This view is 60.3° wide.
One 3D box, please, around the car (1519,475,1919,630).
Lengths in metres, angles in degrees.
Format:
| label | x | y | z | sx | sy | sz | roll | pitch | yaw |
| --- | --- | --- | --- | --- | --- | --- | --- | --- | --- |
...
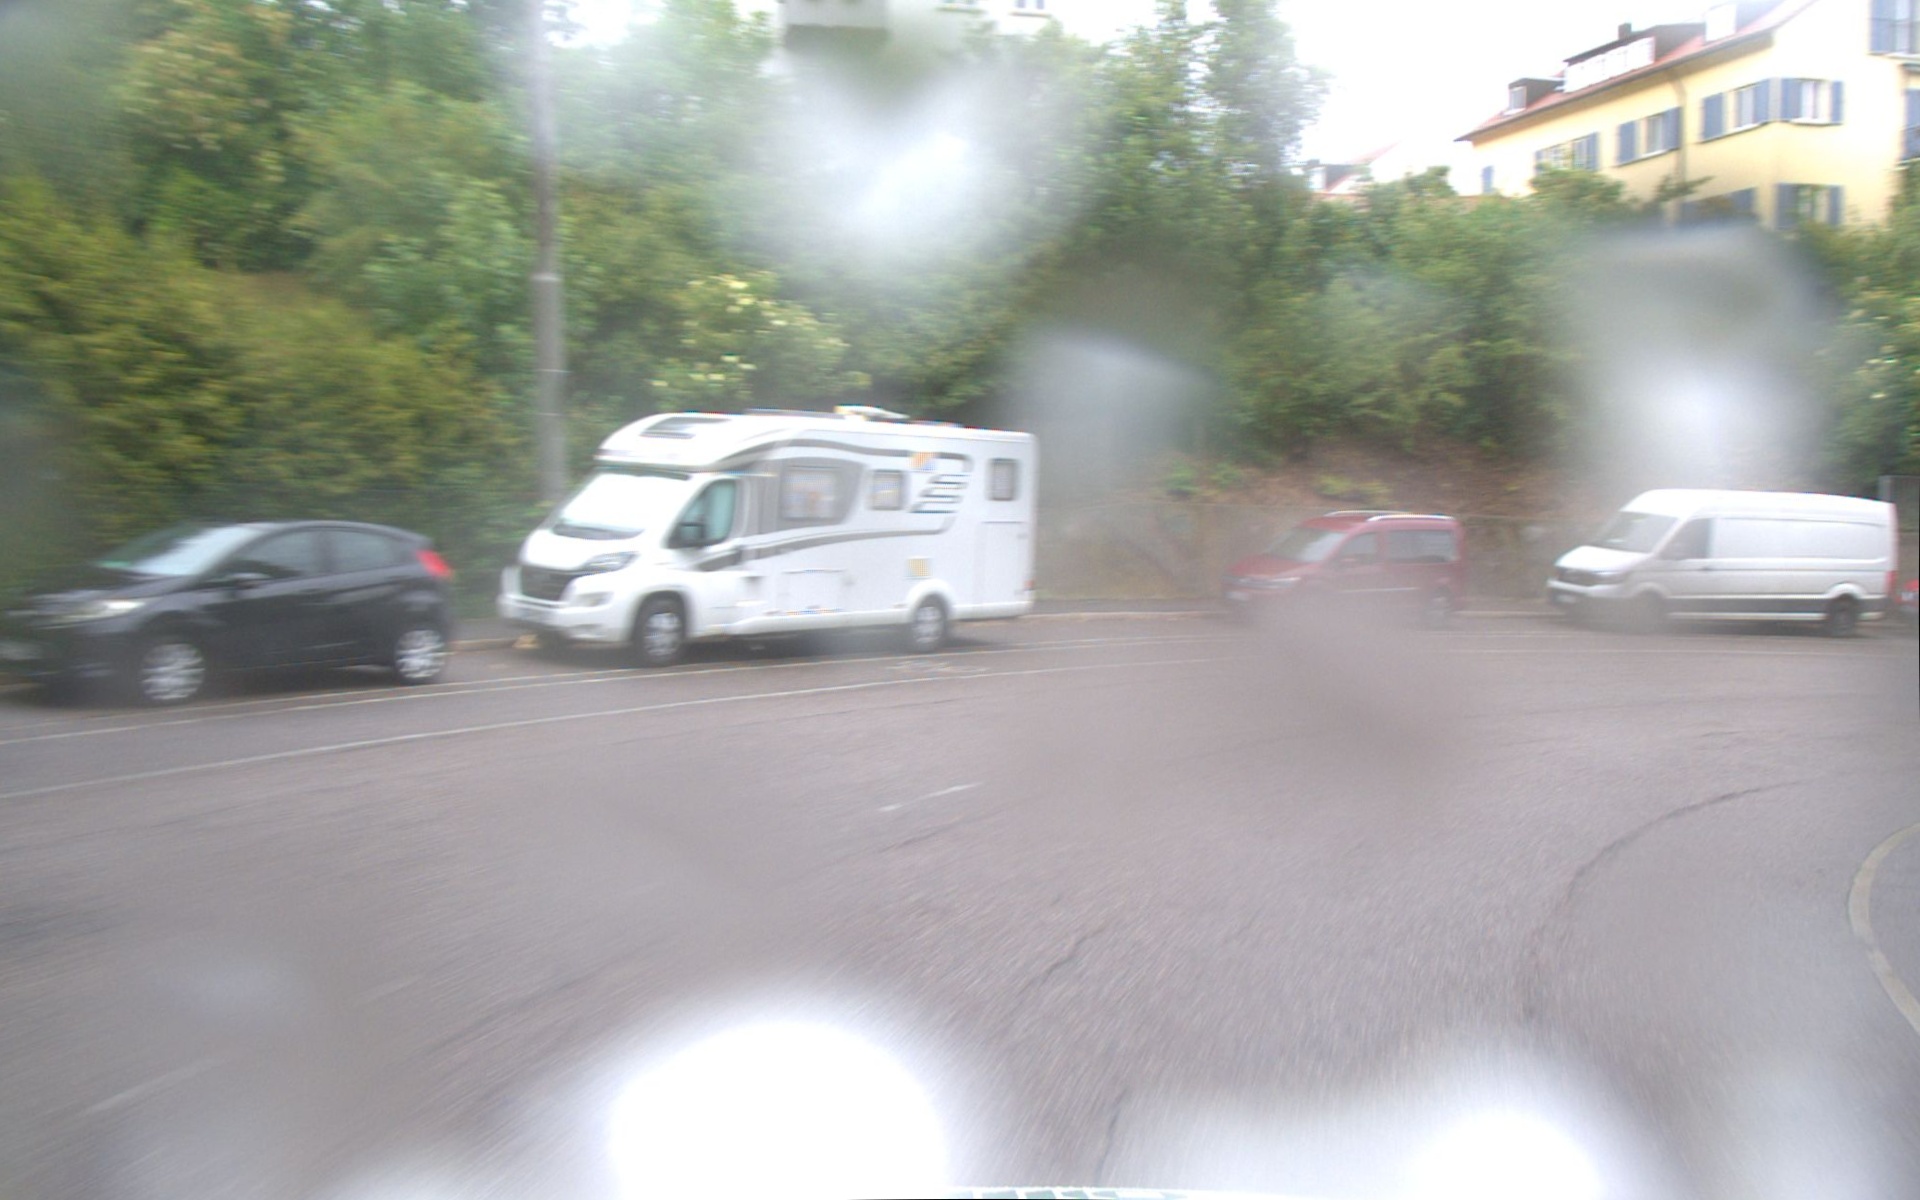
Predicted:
| label | x | y | z | sx | sy | sz | roll | pitch | yaw |
| --- | --- | --- | --- | --- | --- | --- | --- | --- | --- |
| car | 14.291 | -0.886 | 31.146 | 6.983 | 2.580 | 2.321 | 1 | 5 | -17 |

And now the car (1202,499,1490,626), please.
| label | x | y | z | sx | sy | sz | roll | pitch | yaw |
| --- | --- | --- | --- | --- | --- | --- | --- | --- | --- |
| car | 6.562 | -0.620 | 27.903 | 4.861 | 1.920 | 1.775 | 0 | 4 | -32 |

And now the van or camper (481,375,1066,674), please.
| label | x | y | z | sx | sy | sz | roll | pitch | yaw |
| --- | --- | --- | --- | --- | --- | --- | --- | --- | --- |
| van or camper | -1.891 | -0.929 | 20.092 | 2.162 | 2.982 | 7.621 | 5 | 5 | 40 |

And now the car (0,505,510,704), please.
| label | x | y | z | sx | sy | sz | roll | pitch | yaw |
| --- | --- | --- | --- | --- | --- | --- | --- | --- | --- |
| car | -6.088 | -0.030 | 14.150 | 1.722 | 1.379 | 4.304 | 4 | 3 | 31 |

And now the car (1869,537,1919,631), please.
| label | x | y | z | sx | sy | sz | roll | pitch | yaw |
| --- | --- | --- | --- | --- | --- | --- | --- | --- | --- |
| car | 20.415 | -0.225 | 32.103 | 4.473 | 1.693 | 1.849 | 2 | 5 | -4 |
